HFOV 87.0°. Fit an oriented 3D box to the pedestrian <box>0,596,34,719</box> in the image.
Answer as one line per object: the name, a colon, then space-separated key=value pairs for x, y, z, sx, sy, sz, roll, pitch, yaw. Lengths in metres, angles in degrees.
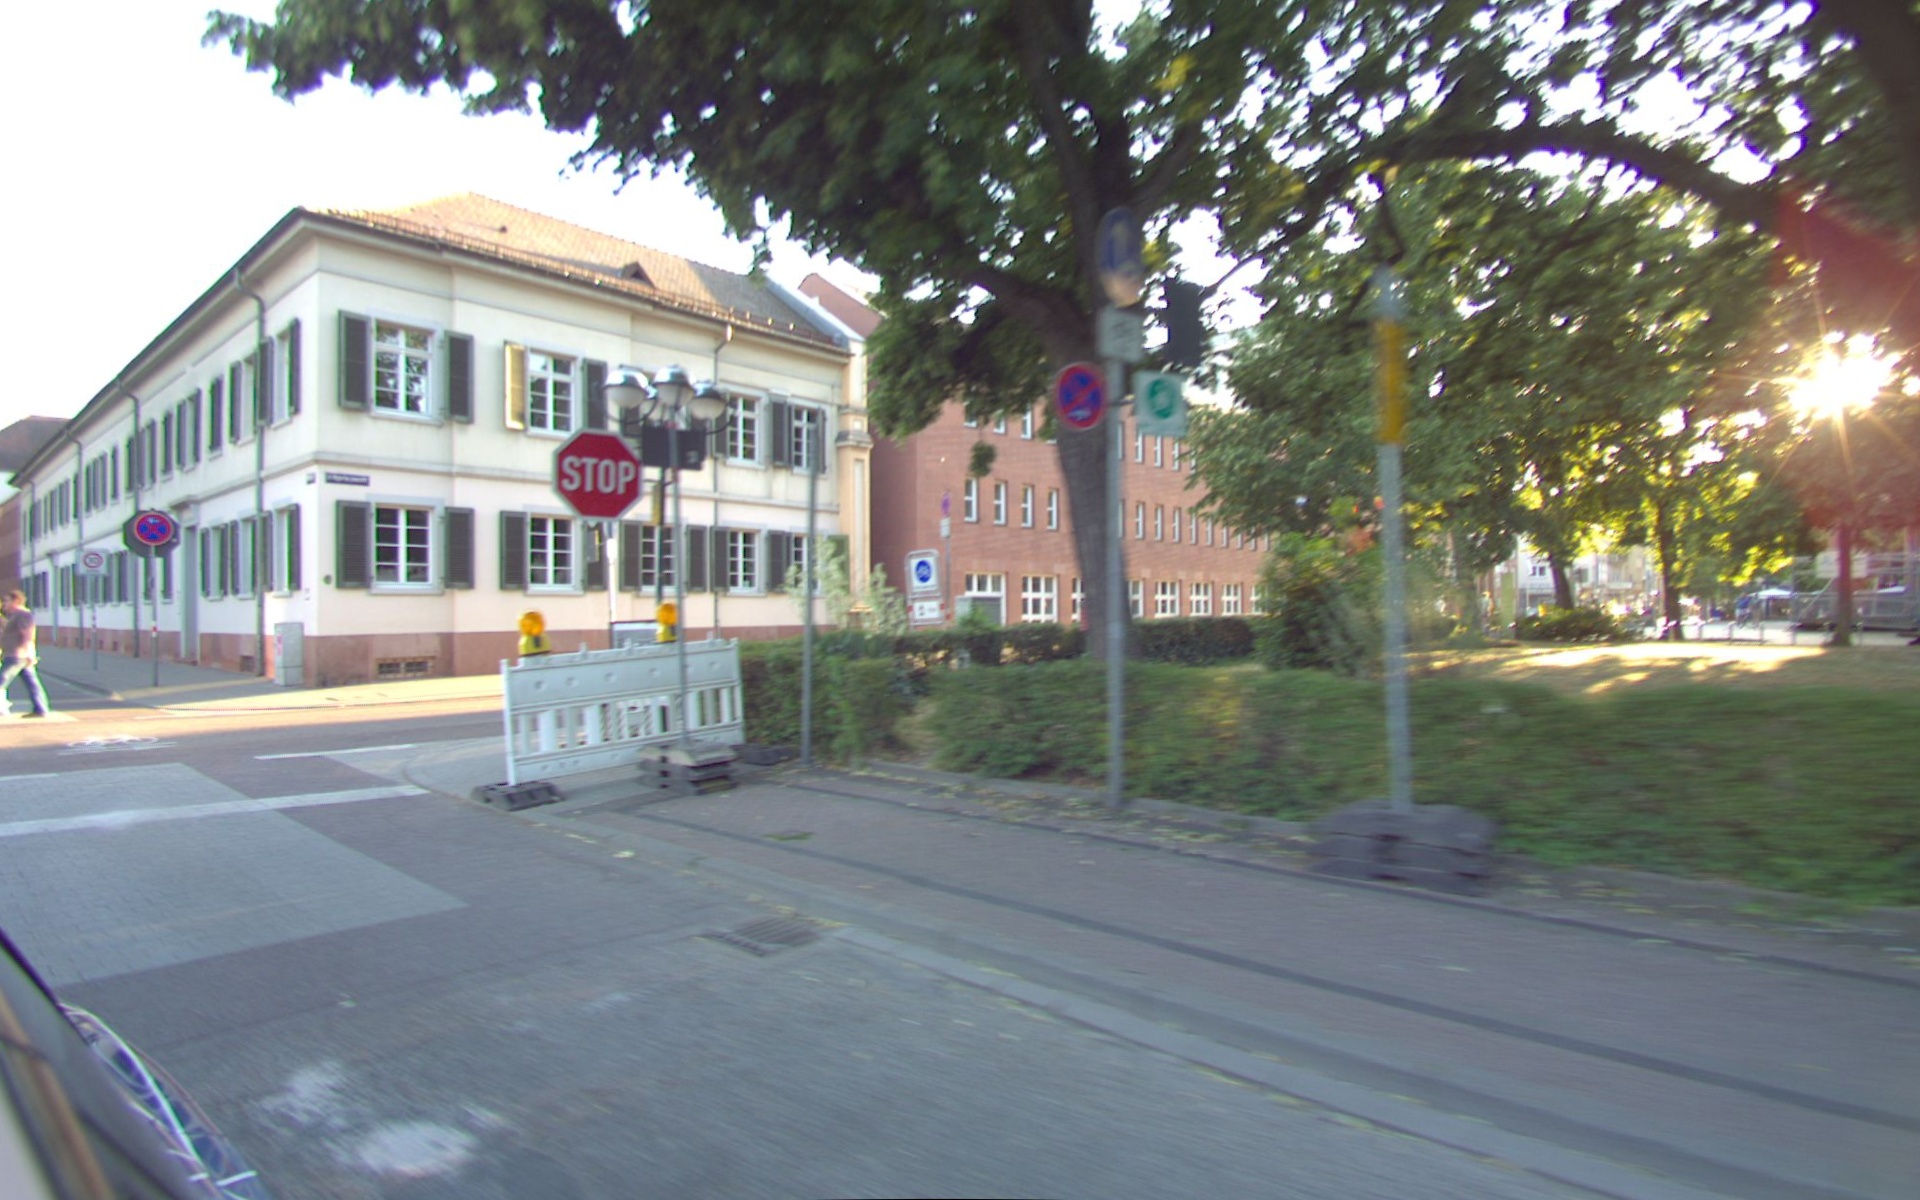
pedestrian: x=-14.022 y=0.824 z=14.624 sx=0.649 sy=1.753 sz=0.848 roll=-1 pitch=-2 yaw=40

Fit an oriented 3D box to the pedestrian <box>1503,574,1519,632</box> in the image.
pedestrian: x=19.444 y=0.113 z=35.694 sx=0.459 sy=2.029 sz=0.404 roll=-1 pitch=-1 yaw=30

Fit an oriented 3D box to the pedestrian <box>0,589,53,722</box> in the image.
pedestrian: x=-13.294 y=0.761 z=14.040 sx=0.761 sy=1.801 sz=0.929 roll=-1 pitch=-2 yaw=40

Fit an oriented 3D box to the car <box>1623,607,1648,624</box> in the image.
car: x=82.430 y=1.954 z=123.481 sx=1.999 sy=2.029 sz=3.945 roll=-1 pitch=-2 yaw=41
